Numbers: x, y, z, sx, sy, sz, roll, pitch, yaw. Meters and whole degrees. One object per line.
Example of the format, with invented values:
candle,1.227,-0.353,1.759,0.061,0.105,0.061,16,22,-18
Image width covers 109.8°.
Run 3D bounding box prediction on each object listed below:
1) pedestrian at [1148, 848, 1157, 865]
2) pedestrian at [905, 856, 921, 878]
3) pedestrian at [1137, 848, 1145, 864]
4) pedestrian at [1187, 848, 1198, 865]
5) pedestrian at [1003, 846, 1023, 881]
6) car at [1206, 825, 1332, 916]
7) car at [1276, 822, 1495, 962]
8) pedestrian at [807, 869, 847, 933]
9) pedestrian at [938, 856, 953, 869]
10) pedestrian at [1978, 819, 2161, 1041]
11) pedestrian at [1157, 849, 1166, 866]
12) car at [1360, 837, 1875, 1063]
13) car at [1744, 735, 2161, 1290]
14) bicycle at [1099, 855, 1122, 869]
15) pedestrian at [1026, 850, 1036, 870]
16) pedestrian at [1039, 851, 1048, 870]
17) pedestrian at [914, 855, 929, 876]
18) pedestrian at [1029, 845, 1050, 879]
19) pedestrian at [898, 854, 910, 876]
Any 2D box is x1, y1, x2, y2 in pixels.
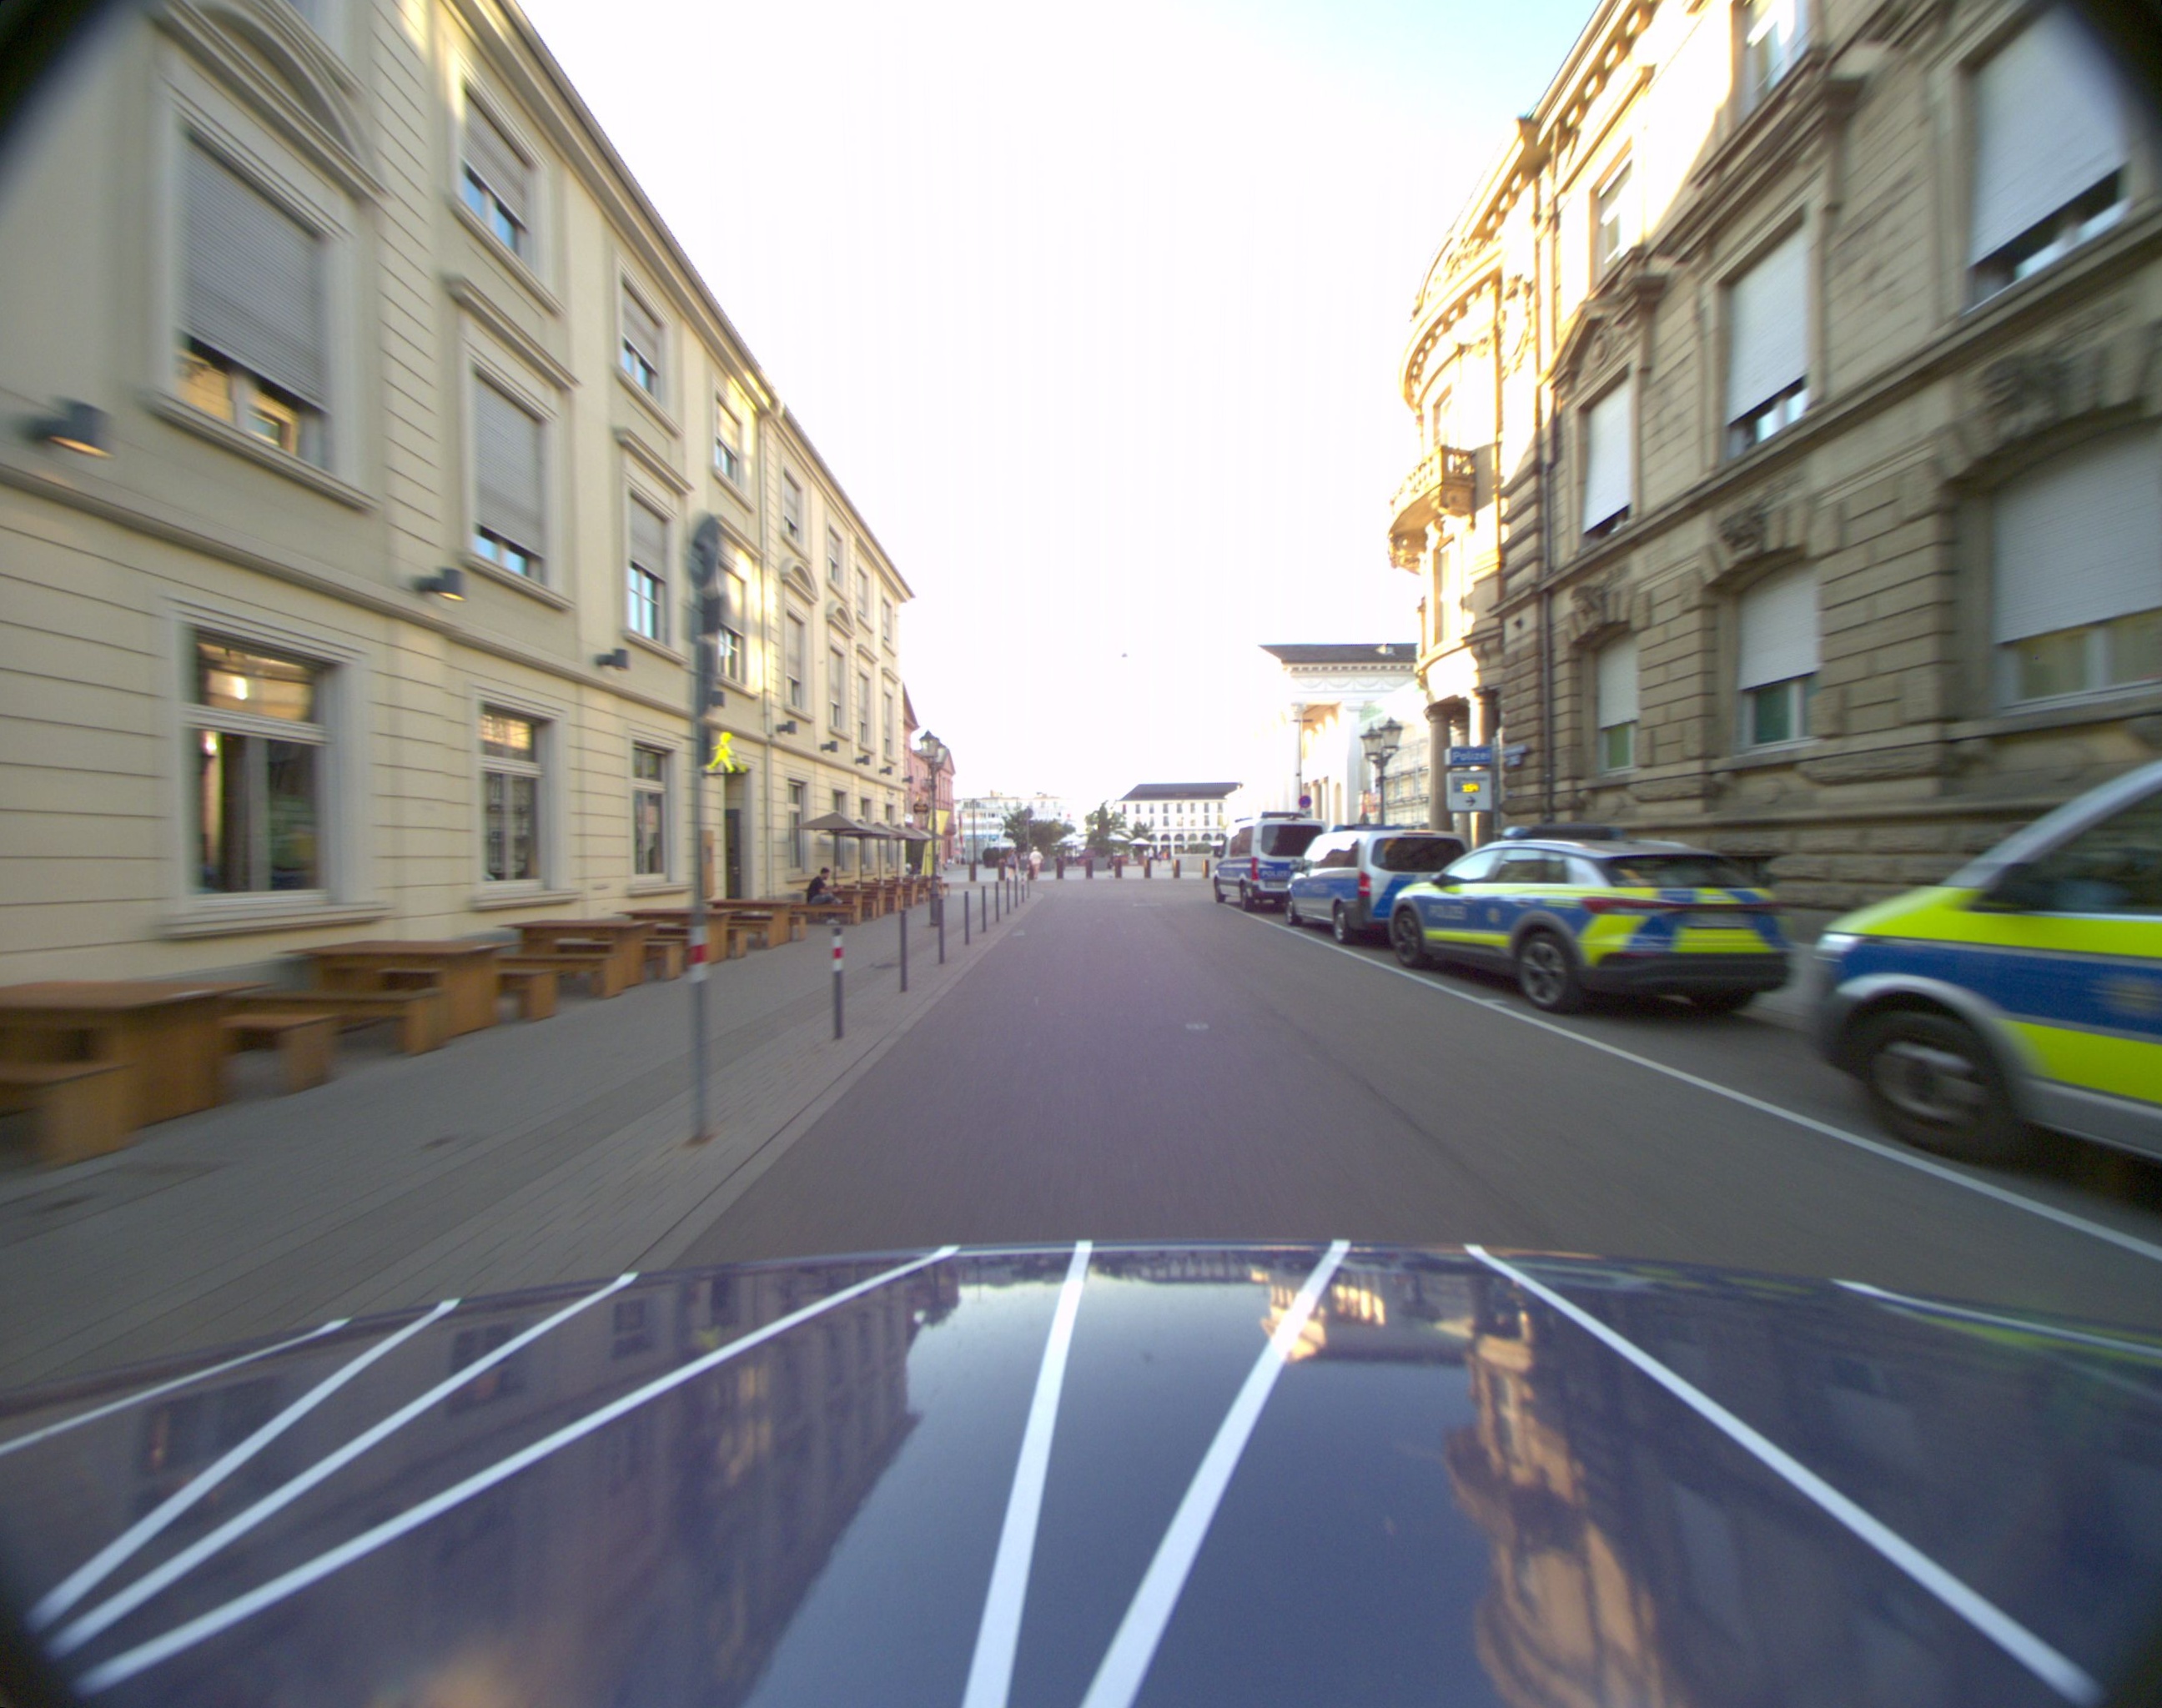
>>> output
pedestrian,7.308,0.245,77.992,0.856,1.720,0.881,-1,1,4
pedestrian,-11.485,0.874,51.890,0.828,1.439,0.585,0,1,34
pedestrian,6.505,0.224,82.788,0.856,1.720,0.881,-1,1,4
pedestrian,12.772,0.235,86.892,1.091,1.900,0.881,-1,1,4
pedestrian,-3.458,0.474,38.654,0.607,1.720,0.719,0,1,44
car,4.972,0.387,20.910,1.999,2.158,5.205,-1,0,-2
car,5.191,0.542,13.900,1.998,2.075,5.206,0,1,1
pedestrian,-5.679,1.038,17.014,0.777,1.351,0.723,-1,1,-16
pedestrian,-13.616,0.881,76.164,1.405,1.255,1.326,-1,1,-12
pedestrian,8.129,0.592,6.273,0.575,1.720,0.744,-1,1,2
pedestrian,8.229,0.320,77.398,0.856,1.720,0.881,-1,1,4
car,5.138,0.719,8.445,1.999,1.742,4.988,-1,1,-3
car,5.006,0.577,2.083,1.999,2.065,4.989,-2,1,0
bicycle,2.474,0.644,63.458,1.683,1.115,0.846,-1,1,35
pedestrian,-4.057,0.468,61.636,0.683,1.557,0.652,-1,1,-1
pedestrian,-3.028,0.541,61.802,0.683,1.550,0.652,-1,1,-1
pedestrian,-11.016,0.815,52.556,0.828,1.439,0.585,0,1,32
pedestrian,-2.125,0.423,38.791,0.667,1.720,0.767,0,1,44
pedestrian,-11.925,0.719,51.148,0.585,1.439,0.829,-1,1,-28
